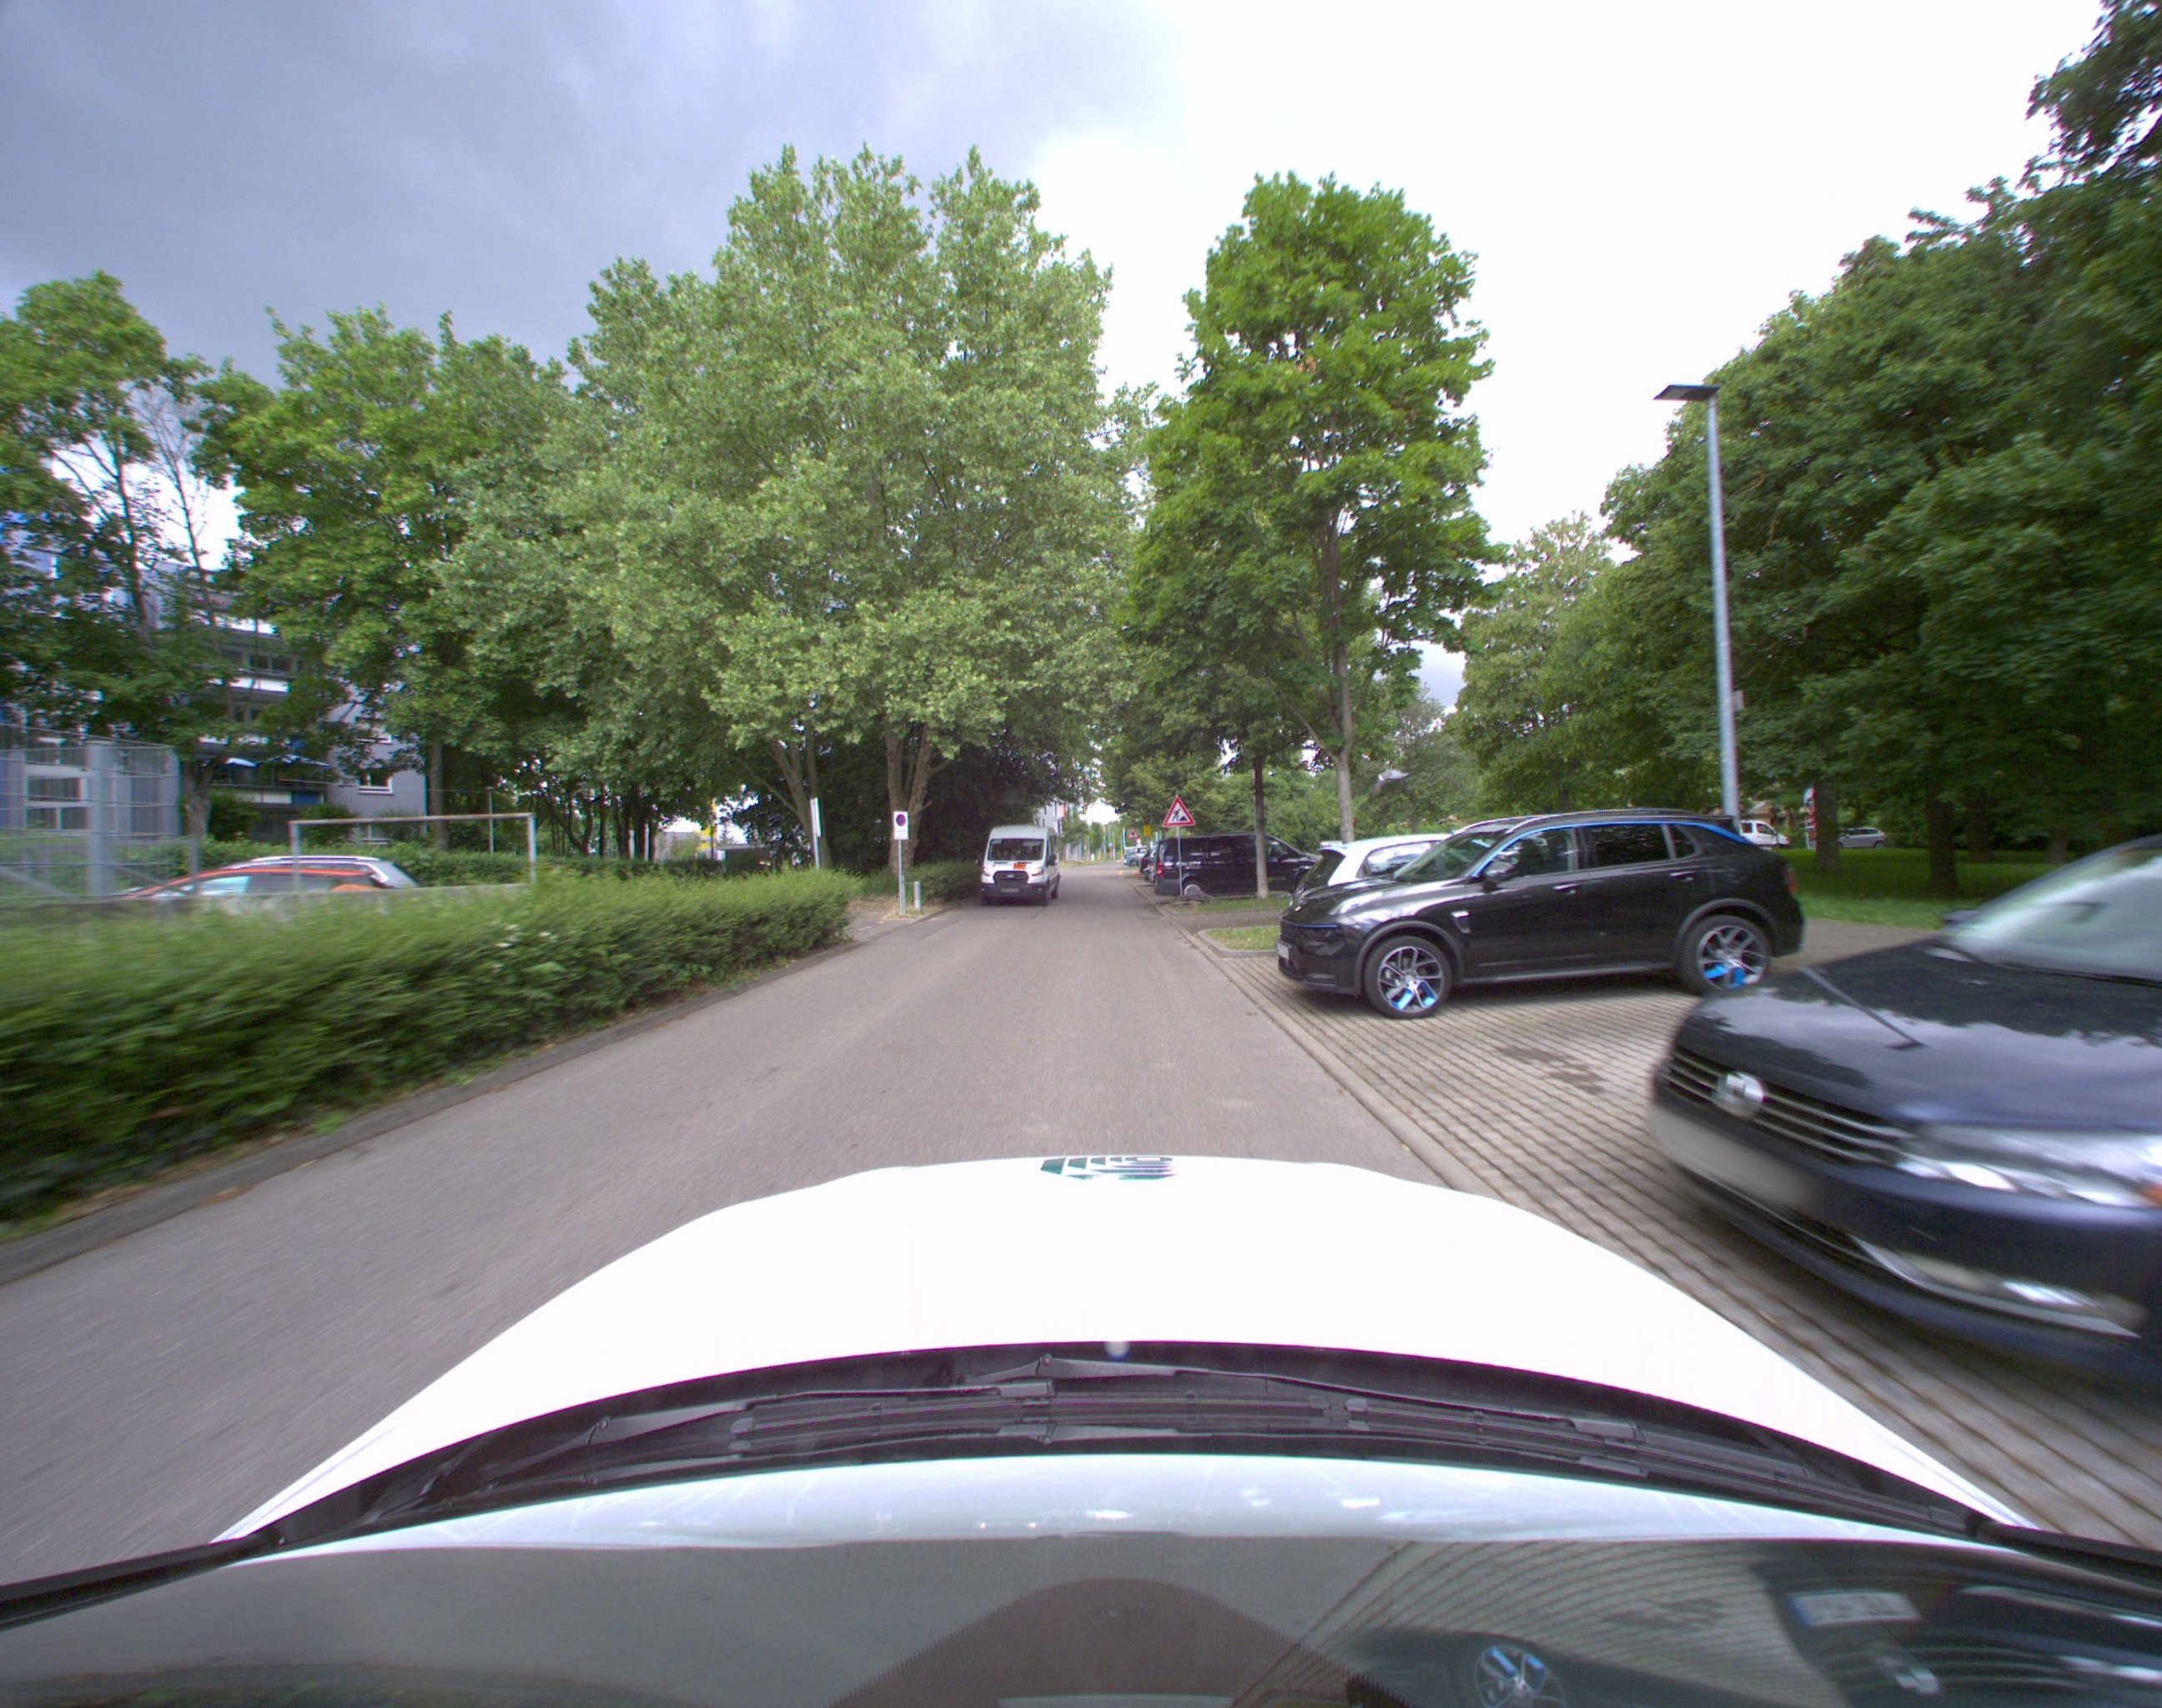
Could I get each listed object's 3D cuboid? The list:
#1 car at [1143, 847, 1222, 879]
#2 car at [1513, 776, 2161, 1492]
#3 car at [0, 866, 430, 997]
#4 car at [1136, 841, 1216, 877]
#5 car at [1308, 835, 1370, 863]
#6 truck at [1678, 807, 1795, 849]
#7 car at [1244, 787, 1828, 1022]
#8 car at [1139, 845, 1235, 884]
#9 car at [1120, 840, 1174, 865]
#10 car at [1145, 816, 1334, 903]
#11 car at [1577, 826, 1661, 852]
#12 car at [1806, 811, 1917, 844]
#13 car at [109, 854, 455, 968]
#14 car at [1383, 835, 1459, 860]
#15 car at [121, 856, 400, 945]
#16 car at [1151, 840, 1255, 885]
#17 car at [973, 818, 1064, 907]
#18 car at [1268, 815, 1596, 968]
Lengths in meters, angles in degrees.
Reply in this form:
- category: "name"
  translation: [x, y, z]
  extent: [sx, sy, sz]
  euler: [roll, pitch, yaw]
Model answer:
- category: "car"
  translation: [5.087, 0.438, 41.171]
  extent: [3.814, 1.358, 1.824]
  euler: [-4, -1, 4]
- category: "car"
  translation: [4.279, 0.457, 2.662]
  extent: [4.618, 1.517, 1.984]
  euler: [-4, 0, 2]
- category: "car"
  translation: [-11.911, 0.946, 11.518]
  extent: [1.727, 1.430, 4.024]
  euler: [-2, -1, 44]
- category: "car"
  translation: [5.062, 0.261, 43.808]
  extent: [4.104, 1.650, 1.982]
  euler: [-4, -1, 4]
- category: "car"
  translation: [17.528, -0.329, 55.524]
  extent: [3.758, 1.668, 1.772]
  euler: [-3, 0, 8]
- category: "truck"
  translation: [42.070, -1.654, 52.416]
  extent: [5.476, 2.426, 2.197]
  euler: [-2, 0, 7]
- category: "car"
  translation: [4.007, 0.410, 7.836]
  extent: [4.400, 1.675, 2.082]
  euler: [-4, 0, 0]
- category: "car"
  translation: [4.628, 0.447, 36.002]
  extent: [3.973, 1.430, 1.936]
  euler: [-4, -1, 0]
- category: "car"
  translation: [6.165, -0.132, 76.578]
  extent: [4.953, 1.972, 1.847]
  euler: [-4, 0, 2]
- category: "car"
  translation: [4.397, 0.149, 23.286]
  extent: [4.935, 2.013, 2.167]
  euler: [-4, 0, 2]
- category: "car"
  translation: [35.270, -0.948, 53.485]
  extent: [4.259, 1.526, 1.707]
  euler: [-2, 0, 8]
- category: "car"
  translation: [53.765, -1.798, 56.186]
  extent: [5.290, 2.057, 2.142]
  euler: [-2, 0, 7]
- category: "car"
  translation: [-13.394, 0.848, 13.932]
  extent: [1.802, 1.611, 4.024]
  euler: [-2, -1, 44]
- category: "car"
  translation: [22.800, -0.420, 54.662]
  extent: [4.369, 1.428, 1.706]
  euler: [-2, 0, 7]
- category: "car"
  translation: [-17.729, 0.930, 17.867]
  extent: [4.139, 1.648, 1.785]
  euler: [-1, -1, -44]
- category: "car"
  translation: [4.931, 0.349, 33.285]
  extent: [3.972, 1.528, 1.811]
  euler: [-4, -1, 1]
- category: "car"
  translation: [-1.827, 0.222, 26.205]
  extent: [2.123, 2.476, 6.281]
  euler: [-1, 0, 3]
- category: "car"
  translation: [4.315, 0.435, 10.440]
  extent: [3.367, 1.574, 1.797]
  euler: [-4, 0, 1]
